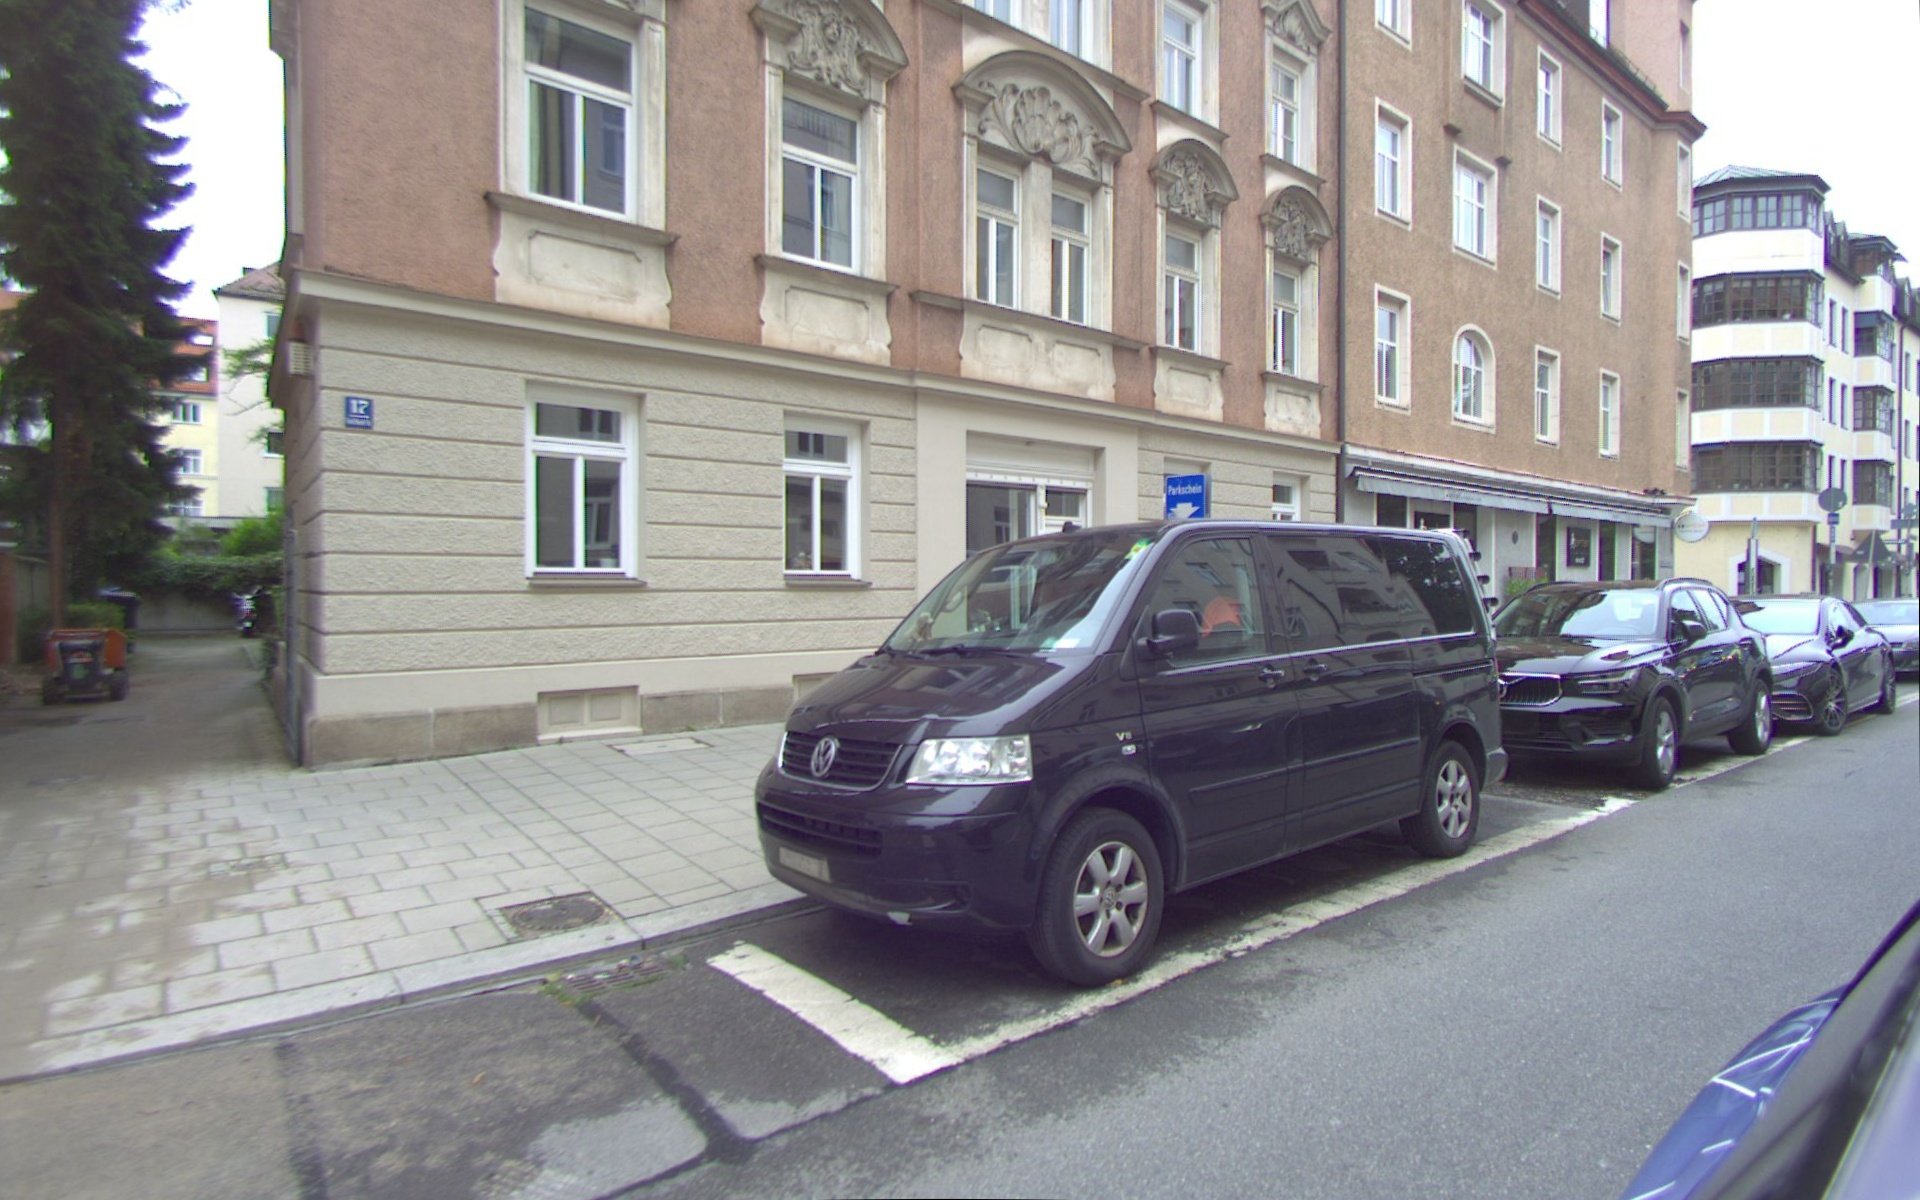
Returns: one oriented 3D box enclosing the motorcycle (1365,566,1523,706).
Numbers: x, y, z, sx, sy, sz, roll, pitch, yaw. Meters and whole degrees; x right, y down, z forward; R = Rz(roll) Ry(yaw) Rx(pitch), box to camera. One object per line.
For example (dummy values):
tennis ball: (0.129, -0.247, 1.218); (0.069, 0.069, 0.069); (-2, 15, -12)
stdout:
motorcycle: (5.728, 0.378, 11.936); (1.960, 1.524, 0.874); (0, 0, -37)

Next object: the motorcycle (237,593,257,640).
motorcycle: (-19.219, 0.416, 27.309); (0.428, 1.218, 1.832); (0, 0, -35)

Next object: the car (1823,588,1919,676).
car: (17.139, 0.514, 18.365); (4.108, 1.412, 1.575); (-1, 2, -40)

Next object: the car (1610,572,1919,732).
car: (10.067, 0.491, 12.433); (5.536, 1.572, 1.935); (0, 0, -40)

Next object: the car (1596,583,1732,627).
car: (26.057, 0.169, 37.569); (1.717, 1.458, 3.748); (3, 0, -34)

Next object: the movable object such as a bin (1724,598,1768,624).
movable object such as a bin: (28.676, 0.396, 36.943); (0.671, 0.911, 1.126); (-1, 2, -37)

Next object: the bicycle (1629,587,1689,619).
bicycle: (27.989, 0.111, 40.528); (0.506, 1.201, 1.906); (0, 1, -37)

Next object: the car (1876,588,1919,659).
car: (21.447, 0.458, 21.787); (4.701, 1.422, 1.851); (-1, 1, -39)

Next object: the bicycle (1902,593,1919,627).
bicycle: (34.250, 0.341, 36.215); (2.015, 1.173, 0.430); (-1, 2, -37)

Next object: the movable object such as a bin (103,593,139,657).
movable object such as a bin: (-17.668, 0.515, 21.329); (0.543, 1.333, 0.467); (0, 0, -35)

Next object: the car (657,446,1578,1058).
car: (1.203, 0.364, 5.592); (5.048, 1.944, 2.087); (-4, 1, -38)

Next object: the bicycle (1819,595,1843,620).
bicycle: (34.194, 0.297, 39.714); (1.663, 0.912, 0.262); (-1, 5, -36)

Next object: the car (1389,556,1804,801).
car: (5.816, 0.543, 9.042); (4.327, 1.698, 1.697); (-1, -2, -38)

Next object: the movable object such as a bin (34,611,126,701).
movable object such as a bin: (-12.021, 0.731, 13.862); (0.816, 1.123, 1.249); (0, 1, -35)
